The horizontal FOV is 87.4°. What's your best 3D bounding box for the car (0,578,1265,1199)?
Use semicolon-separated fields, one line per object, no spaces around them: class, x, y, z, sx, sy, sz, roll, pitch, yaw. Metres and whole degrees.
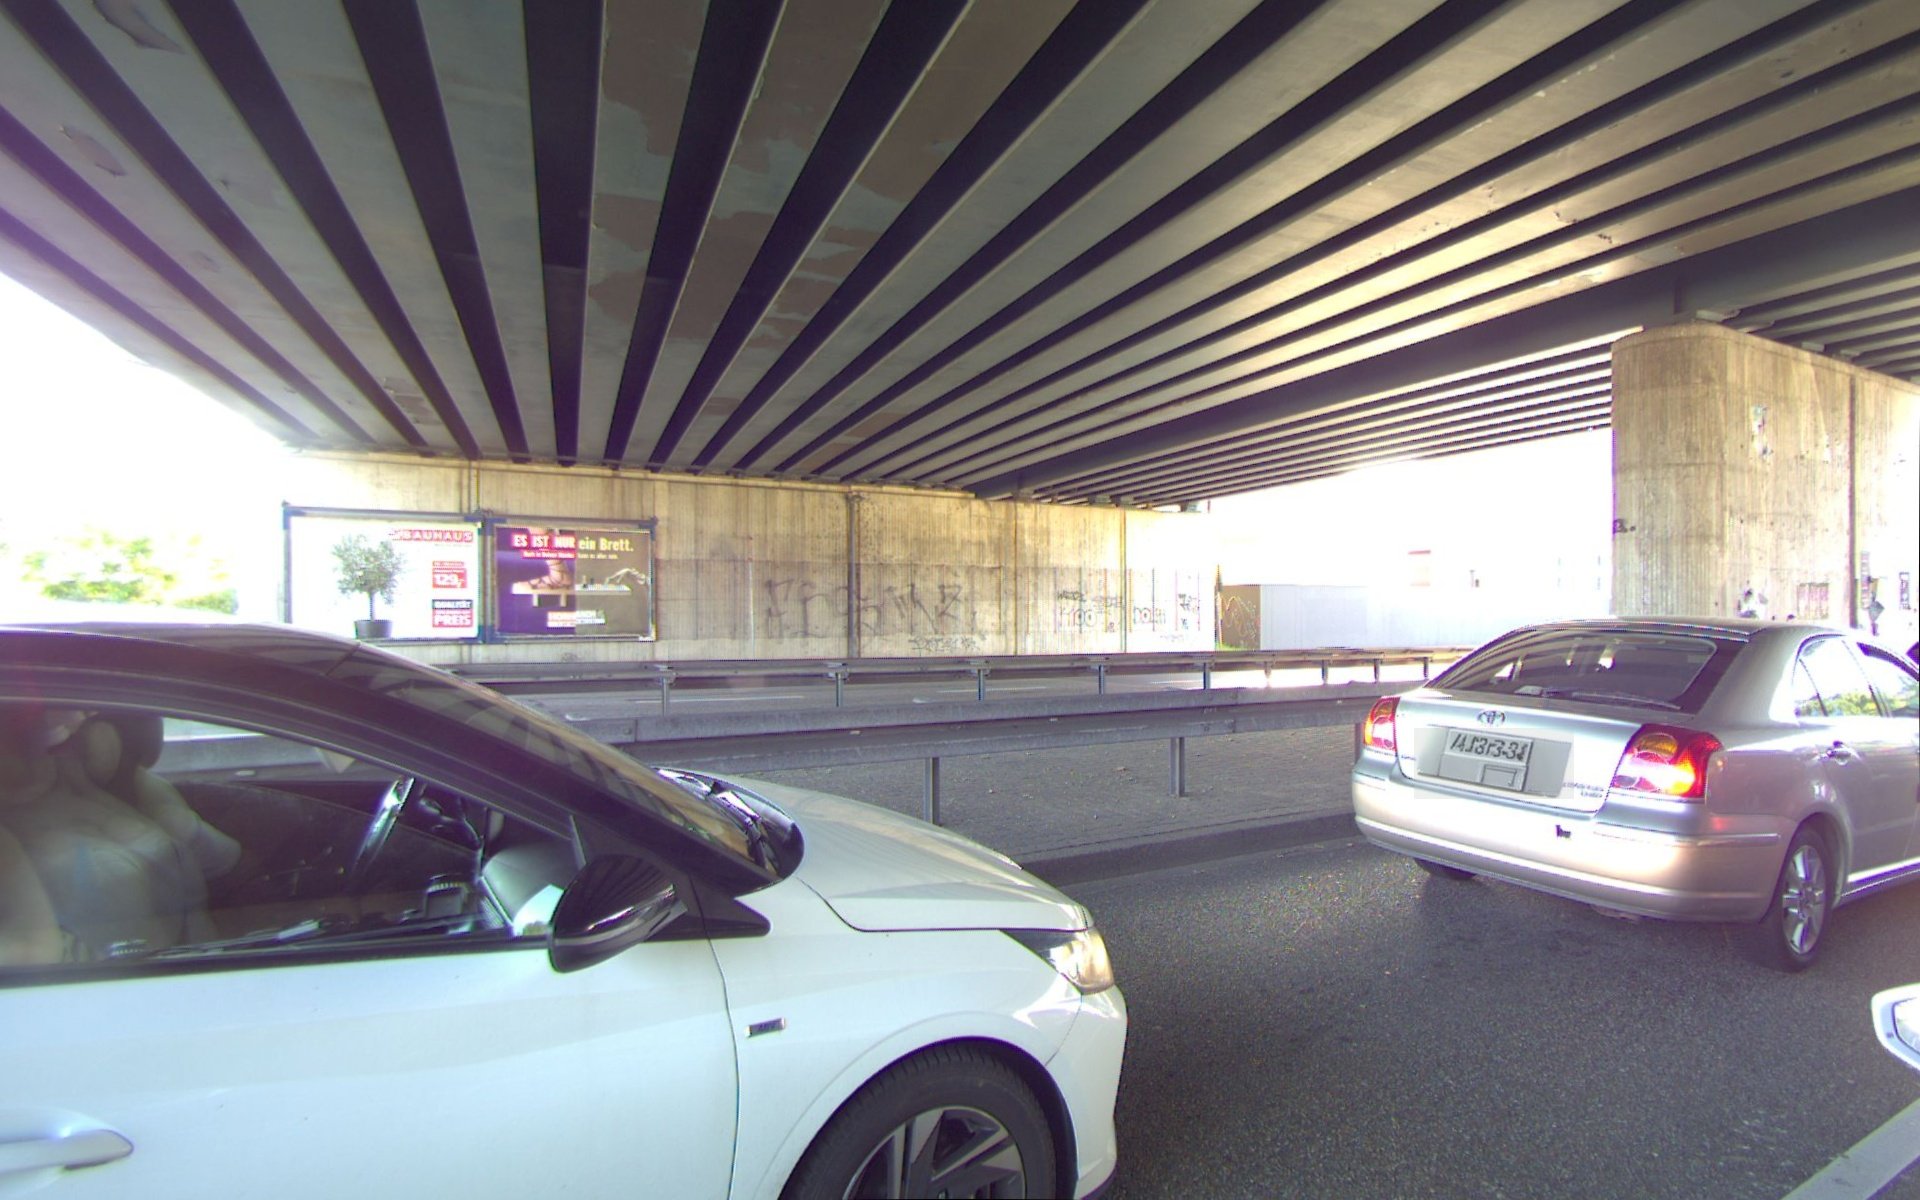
car;-1.437;0.730;1.962;3.946;1.499;1.724;1;-1;-32

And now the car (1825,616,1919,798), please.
car;9.529;0.887;8.859;3.687;1.457;1.804;0;0;-31

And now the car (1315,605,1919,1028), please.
car;4.048;0.815;5.439;4.270;1.499;1.724;1;-1;-32
